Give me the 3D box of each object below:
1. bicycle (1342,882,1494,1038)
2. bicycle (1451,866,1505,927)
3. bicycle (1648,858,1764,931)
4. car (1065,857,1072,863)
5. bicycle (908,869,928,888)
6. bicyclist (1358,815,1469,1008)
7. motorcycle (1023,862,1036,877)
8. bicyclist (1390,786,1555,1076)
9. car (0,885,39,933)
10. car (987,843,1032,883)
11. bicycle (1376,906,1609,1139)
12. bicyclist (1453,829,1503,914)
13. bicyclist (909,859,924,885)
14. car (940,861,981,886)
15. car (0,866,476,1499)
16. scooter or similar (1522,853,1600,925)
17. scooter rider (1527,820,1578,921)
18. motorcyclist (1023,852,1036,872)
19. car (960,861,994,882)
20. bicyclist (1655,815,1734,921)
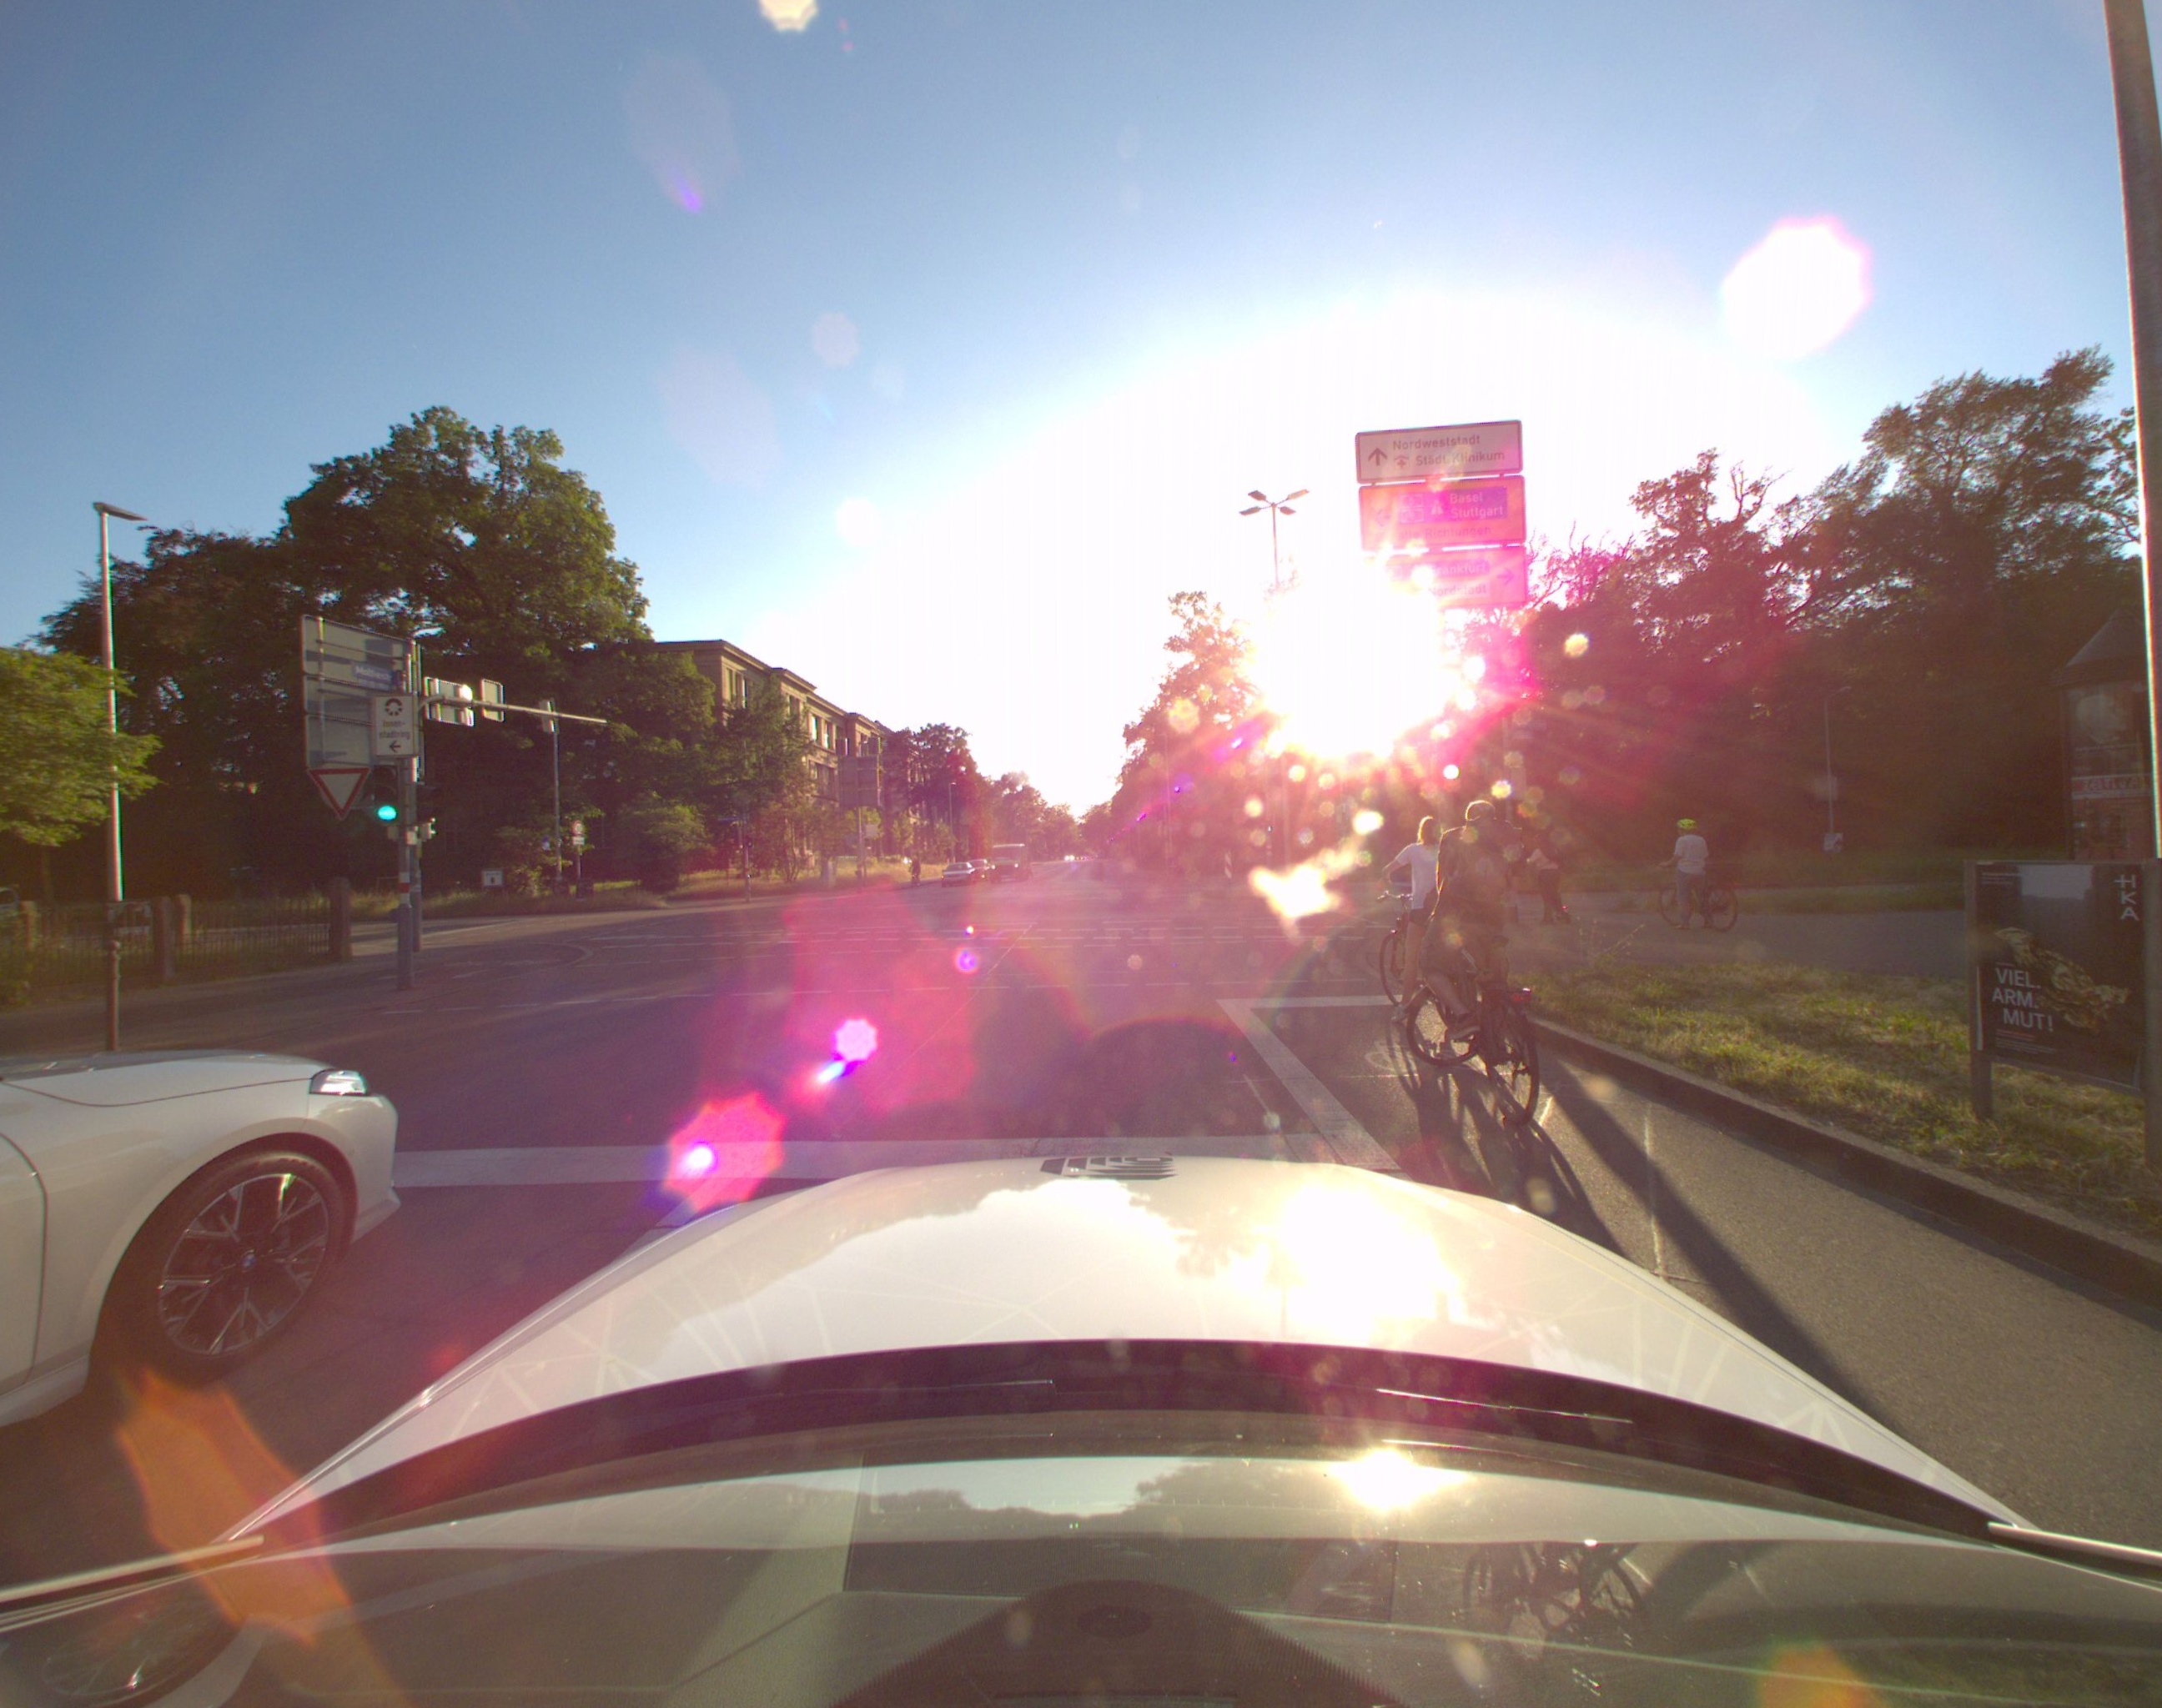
[{"bbox_3d":[2.920,0.855,7.275,0.611,1.138,1.885,-1,0,2],"label":"bicycle"},{"bbox_3d":[7.352,0.751,15.039,0.763,1.007,2.029,-1,0,29],"label":"bicycle"},{"bbox_3d":[9.569,0.584,12.558,0.560,1.014,1.806,-2,0,7],"label":"bicycle"},{"bbox_3d":[-3.541,1.665,229.469,1.766,1.474,3.773,-2,0,-2],"label":"car"},{"bbox_3d":[-9.878,1.471,49.314,0.684,1.123,2.169,-2,0,2],"label":"bicycle"},{"bbox_3d":[2.907,0.475,7.198,0.601,1.586,0.910,-1,0,2],"label":"bicyclist"},{"bbox_3d":[-3.561,1.047,56.418,0.751,1.001,1.880,-2,0,2],"label":"motorcycle"},{"bbox_3d":[2.416,0.445,5.118,0.695,1.667,0.800,-1,0,7],"label":"bicyclist"},{"bbox_3d":[-44.602,2.246,32.281,4.093,1.845,1.863,-2,0,0],"label":"car"},{"bbox_3d":[-4.406,0.526,50.958,2.031,2.278,5.943,-2,0,2],"label":"car"},{"bbox_3d":[2.416,0.913,5.050,0.695,1.063,1.828,-1,0,7],"label":"bicycle"},{"bbox_3d":[7.368,0.310,15.095,0.752,1.518,0.862,-2,0,29],"label":"bicyclist"},{"bbox_3d":[-9.901,1.090,49.021,0.680,1.512,0.956,-2,0,2],"label":"bicyclist"},{"bbox_3d":[-7.363,1.176,50.078,1.723,1.409,4.141,-2,0,2],"label":"car"},{"bbox_3d":[-3.443,0.811,1.289,1.746,1.466,4.189,-2,0,1],"label":"car"},{"bbox_3d":[8.449,0.593,14.390,0.559,1.189,1.423,-2,-1,3],"label":"scooter or similar"},{"bbox_3d":[8.443,0.294,14.597,0.563,1.766,0.505,-2,-1,3],"label":"scooter rider"},{"bbox_3d":[-3.580,0.527,56.440,0.747,1.358,0.704,-2,-1,1],"label":"motorcyclist"},{"bbox_3d":[-7.203,1.208,56.622,1.758,1.328,3.645,-2,0,2],"label":"car"},{"bbox_3d":[9.516,0.206,12.656,0.551,1.569,0.900,-2,0,6],"label":"bicyclist"}]
